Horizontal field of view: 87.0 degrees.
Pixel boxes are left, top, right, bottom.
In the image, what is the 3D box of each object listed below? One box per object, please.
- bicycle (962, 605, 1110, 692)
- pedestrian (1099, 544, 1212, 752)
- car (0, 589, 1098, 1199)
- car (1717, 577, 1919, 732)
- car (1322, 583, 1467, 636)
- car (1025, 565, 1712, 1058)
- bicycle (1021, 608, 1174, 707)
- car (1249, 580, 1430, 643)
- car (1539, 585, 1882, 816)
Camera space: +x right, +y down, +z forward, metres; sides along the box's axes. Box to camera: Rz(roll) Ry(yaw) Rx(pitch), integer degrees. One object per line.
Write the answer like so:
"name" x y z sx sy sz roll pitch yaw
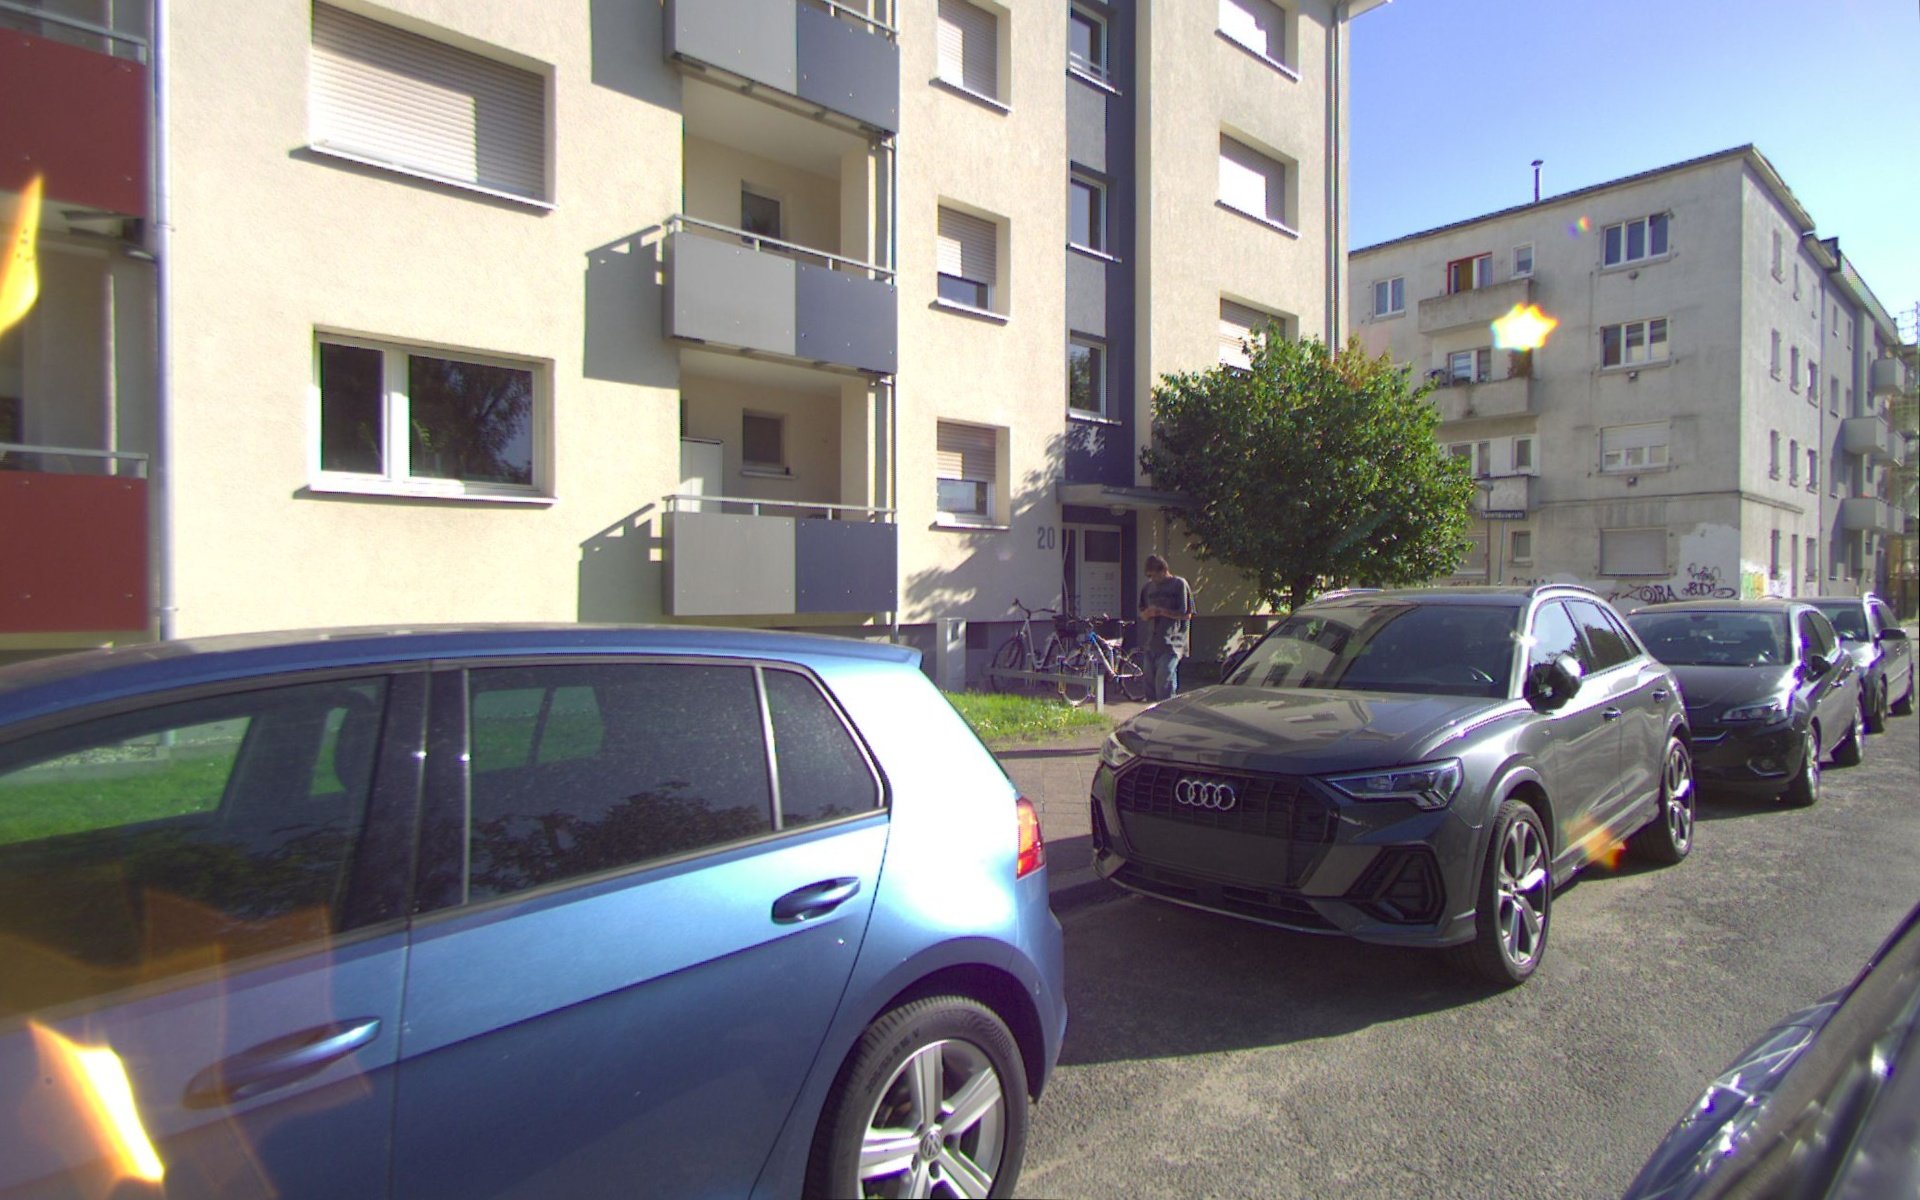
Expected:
"bicycle" 1.007 0.578 12.840 2.246 0.972 0.485 -1 2 -44
"pedestrian" 1.793 0.405 9.281 0.826 1.793 0.646 -1 1 -42
"car" -1.713 0.745 1.786 4.011 1.499 1.754 -1 1 -43
"car" 10.749 0.524 12.388 4.016 1.567 1.620 -1 2 -42
"car" 13.265 0.274 31.060 1.662 1.477 3.718 2 0 -39
"car" 2.409 0.639 5.316 4.183 1.578 1.754 -1 1 -43
"bicycle" 1.667 0.629 11.923 2.246 1.024 0.485 -1 2 -44
"car" 9.817 0.262 26.425 1.772 1.433 4.043 3 0 -41
"car" 6.440 0.637 8.541 3.732 1.503 1.607 -1 1 -42
